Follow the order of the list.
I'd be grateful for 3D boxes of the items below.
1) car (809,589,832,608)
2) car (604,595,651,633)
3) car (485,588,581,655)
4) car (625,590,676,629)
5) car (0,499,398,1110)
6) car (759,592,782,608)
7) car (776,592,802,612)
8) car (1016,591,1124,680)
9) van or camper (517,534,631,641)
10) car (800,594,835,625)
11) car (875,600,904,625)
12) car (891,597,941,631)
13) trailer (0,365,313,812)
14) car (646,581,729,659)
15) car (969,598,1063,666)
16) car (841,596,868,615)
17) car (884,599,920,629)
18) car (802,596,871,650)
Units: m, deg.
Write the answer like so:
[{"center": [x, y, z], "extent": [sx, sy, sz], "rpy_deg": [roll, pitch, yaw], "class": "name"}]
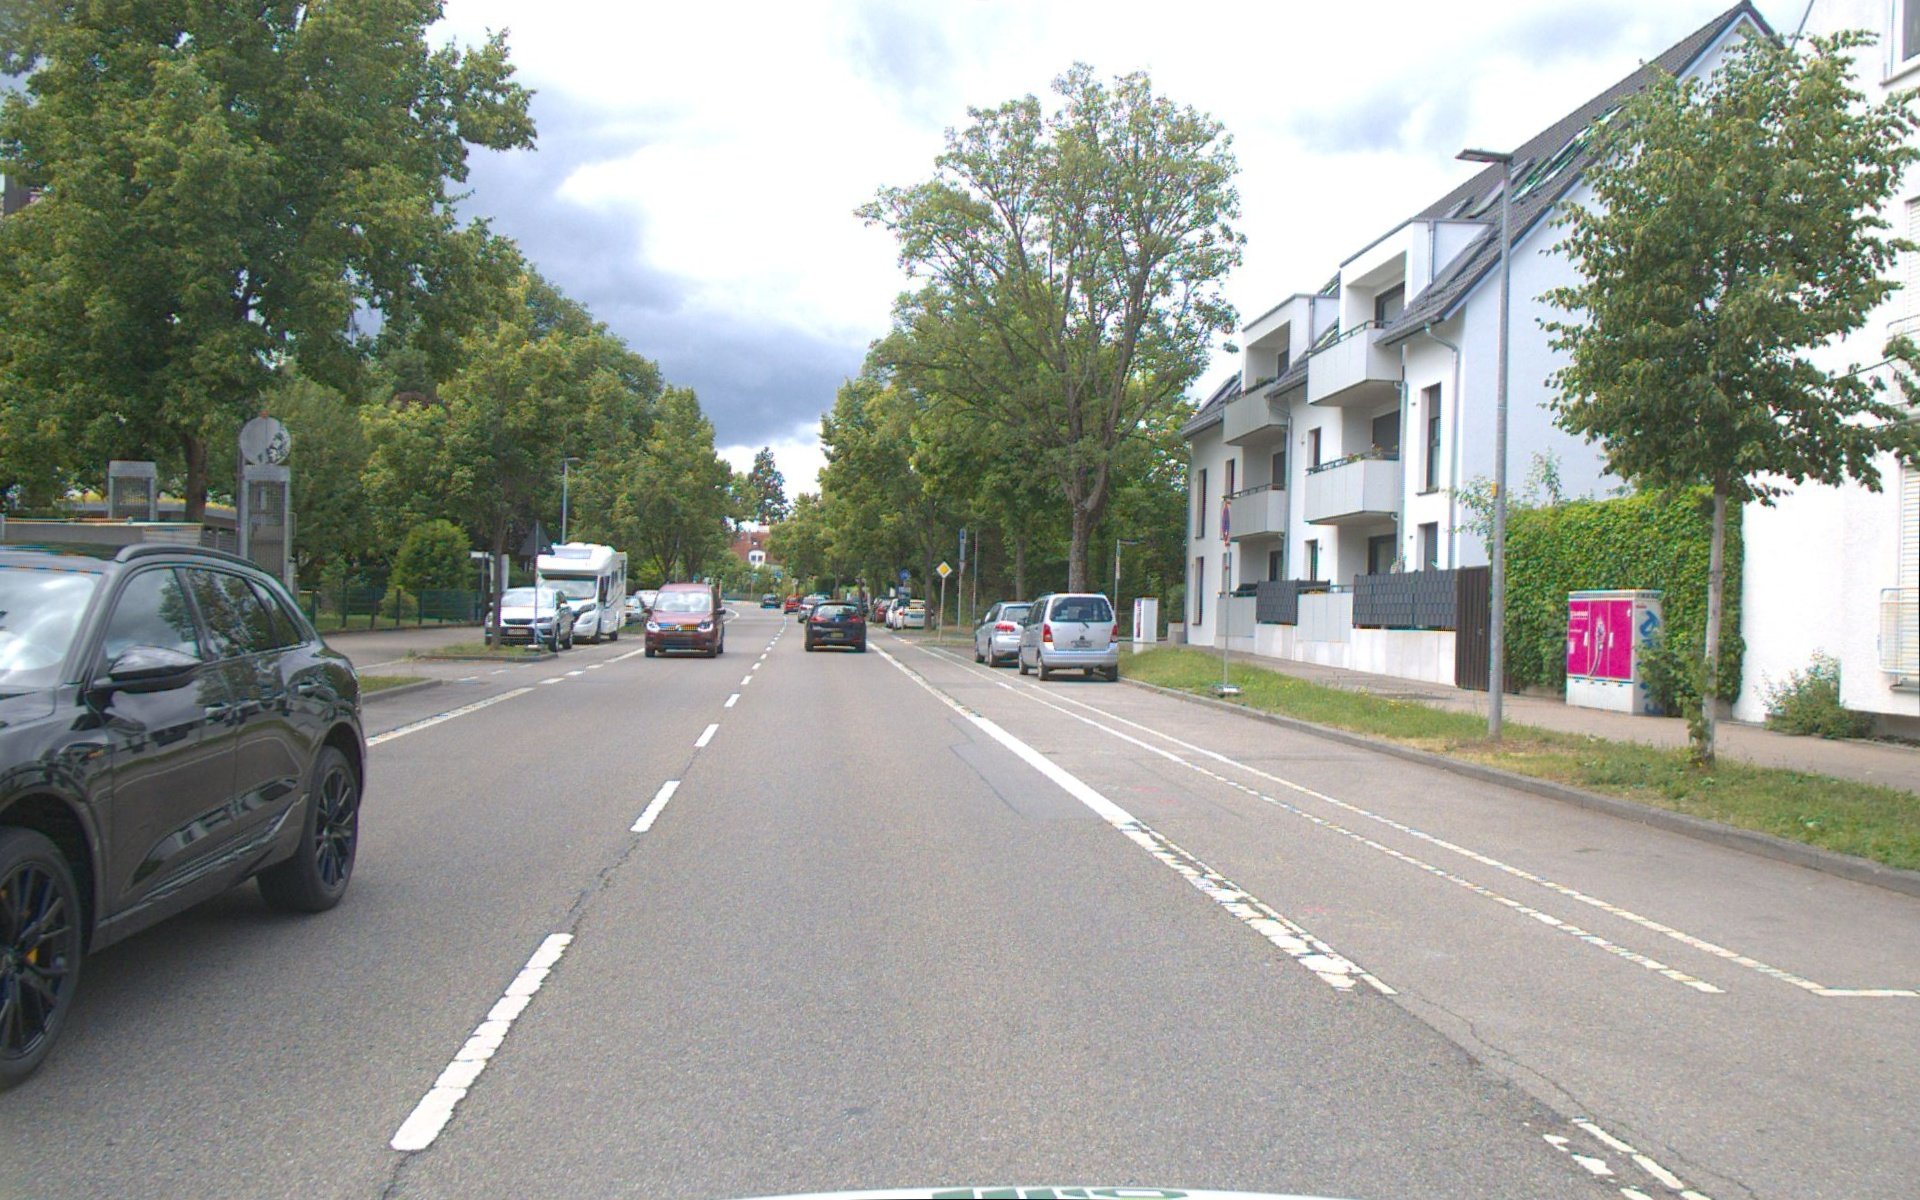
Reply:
[{"center": [-13.407, -0.162, 158.693], "extent": [1.756, 1.803, 3.972], "rpy_deg": [1, 0, -11], "class": "car"}, {"center": [-13.568, 0.549, 67.673], "extent": [1.526, 1.496, 4.445], "rpy_deg": [1, 0, -7], "class": "car"}, {"center": [-11.078, 0.544, 43.145], "extent": [1.689, 1.628, 4.268], "rpy_deg": [1, 0, -5], "class": "car"}, {"center": [-14.427, 0.432, 77.314], "extent": [1.781, 1.681, 4.695], "rpy_deg": [2, 0, -4], "class": "car"}, {"center": [-3.764, 0.574, 6.300], "extent": [1.954, 1.697, 4.585], "rpy_deg": [0, 0, -4], "class": "car"}, {"center": [-18.969, 0.021, 165.614], "extent": [1.957, 1.534, 3.990], "rpy_deg": [2, -1, -10], "class": "car"}, {"center": [-13.666, 0.168, 132.203], "extent": [1.956, 1.557, 3.993], "rpy_deg": [1, 0, -7], "class": "car"}, {"center": [2.174, 0.683, 33.484], "extent": [1.601, 1.694, 3.644], "rpy_deg": [1, 0, -5], "class": "car"}, {"center": [-11.951, -0.359, 51.763], "extent": [2.388, 3.062, 7.684], "rpy_deg": [1, 0, -5], "class": "van or camper"}, {"center": [-8.321, 0.590, 96.081], "extent": [1.955, 1.585, 3.994], "rpy_deg": [1, -3, -6], "class": "car"}, {"center": [-4.159, 0.717, 96.931], "extent": [1.606, 1.445, 3.997], "rpy_deg": [1, 0, -4], "class": "car"}, {"center": [-2.069, 0.628, 76.723], "extent": [1.981, 1.469, 5.019], "rpy_deg": [2, 0, -5], "class": "car"}, {"center": [-8.114, -0.070, 14.441], "extent": [2.622, 2.992, 7.465], "rpy_deg": [2, -1, -6], "class": "trailer"}, {"center": [-6.876, 0.479, 42.062], "extent": [1.726, 1.835, 4.763], "rpy_deg": [1, 0, -6], "class": "car"}, {"center": [1.271, 0.724, 39.179], "extent": [1.655, 1.519, 4.222], "rpy_deg": [1, 0, -6], "class": "car"}, {"center": [-8.419, 0.404, 131.644], "extent": [1.653, 1.457, 4.034], "rpy_deg": [1, 0, -11], "class": "car"}, {"center": [-2.993, 0.703, 85.107], "extent": [1.584, 1.485, 3.653], "rpy_deg": [1, 0, -6], "class": "car"}, {"center": [-3.564, 0.641, 47.387], "extent": [1.749, 1.474, 3.551], "rpy_deg": [1, 0, -8], "class": "car"}]
